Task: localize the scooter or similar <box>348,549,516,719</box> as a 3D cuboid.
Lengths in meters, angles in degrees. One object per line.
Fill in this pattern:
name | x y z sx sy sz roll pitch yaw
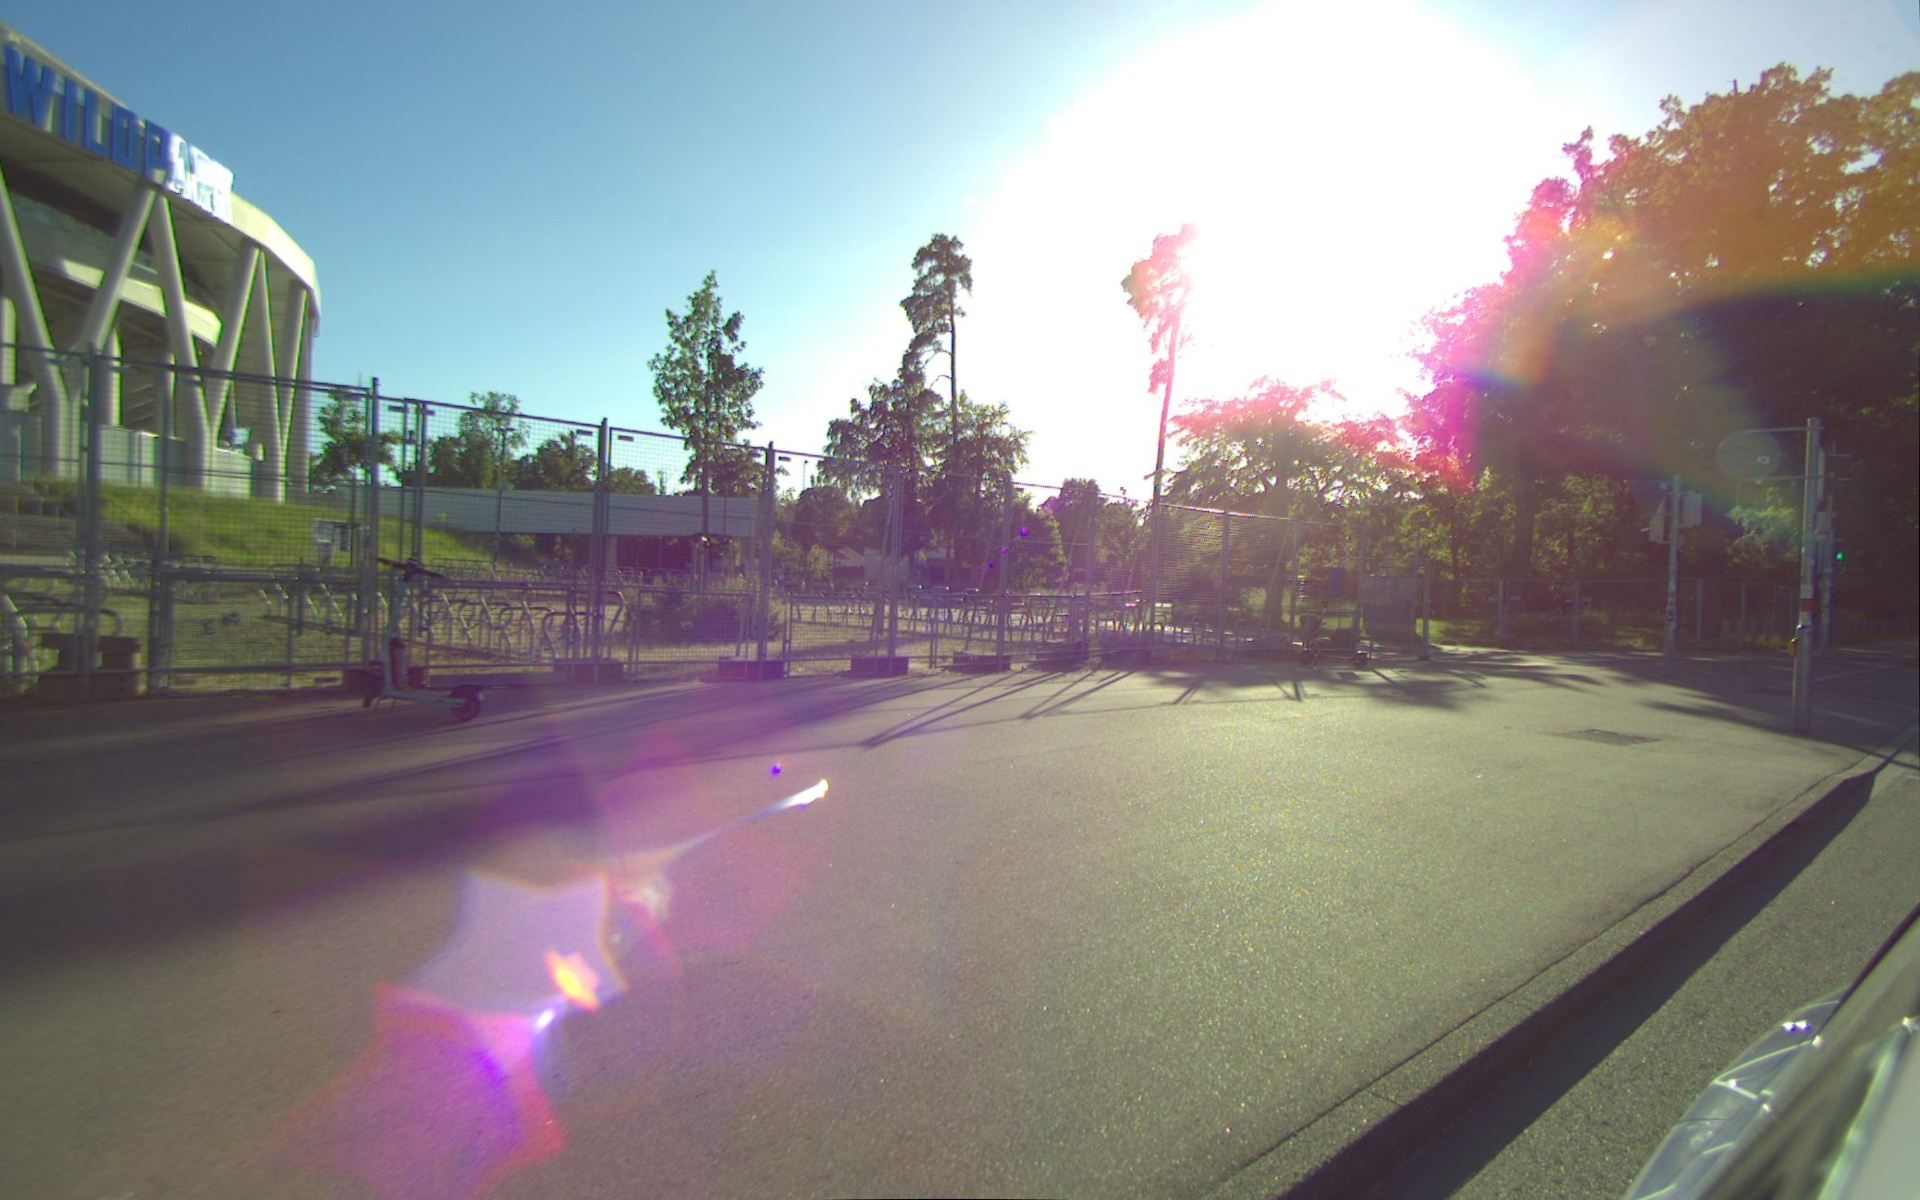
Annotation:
scooter or similar | -4.146 0.245 7.946 1.283 1.253 0.333 2 1 17
